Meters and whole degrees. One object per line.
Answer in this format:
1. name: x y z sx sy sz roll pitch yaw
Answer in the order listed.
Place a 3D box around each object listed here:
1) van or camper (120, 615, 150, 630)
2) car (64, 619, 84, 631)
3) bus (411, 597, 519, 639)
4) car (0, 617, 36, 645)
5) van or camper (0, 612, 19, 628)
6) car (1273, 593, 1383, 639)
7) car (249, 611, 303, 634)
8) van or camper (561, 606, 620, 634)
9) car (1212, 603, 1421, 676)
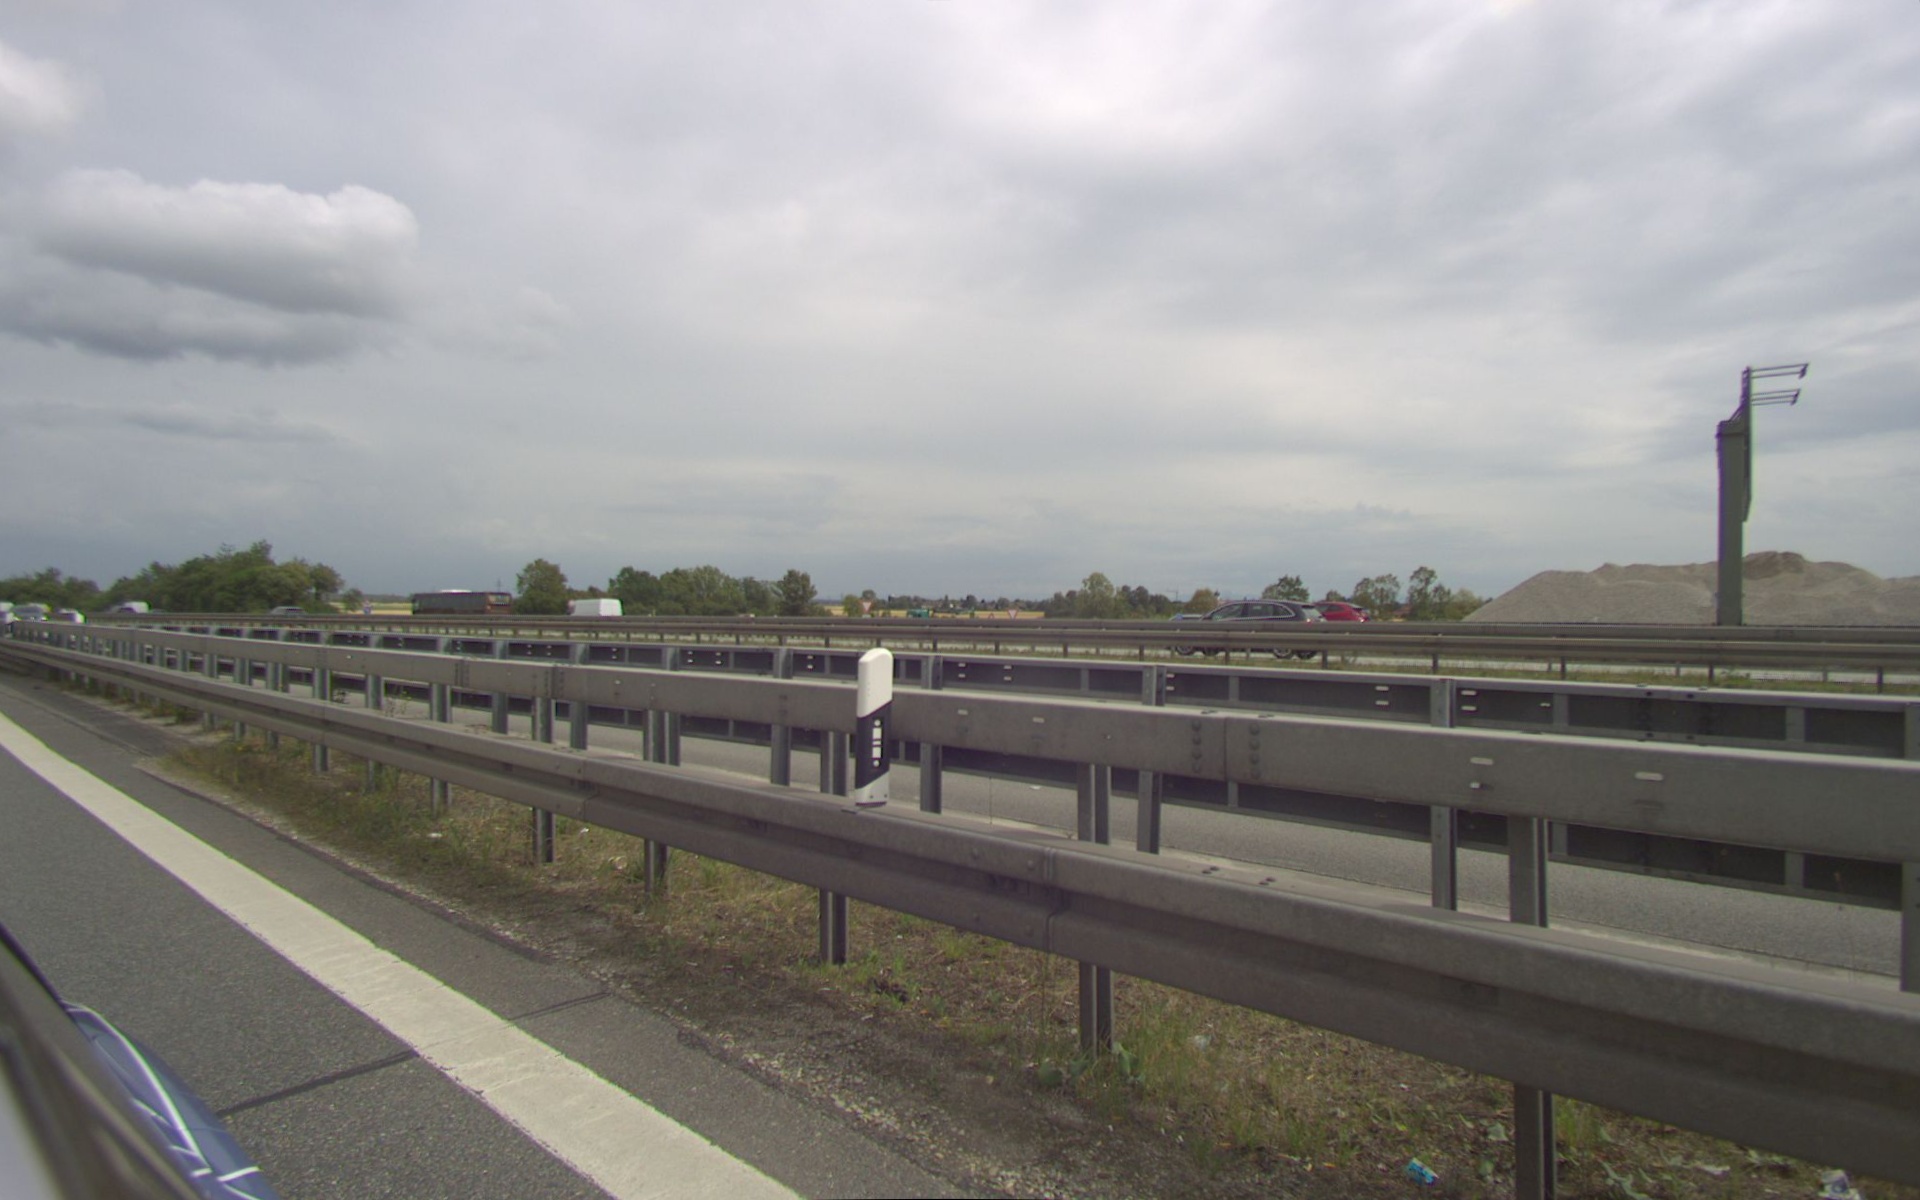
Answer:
1. van or camper: -120.328 3.240 147.563 5.802 2.188 2.166 -1 -1 38
2. car: -119.369 3.376 136.324 3.998 1.475 1.507 -1 0 41
3. bus: -43.979 1.550 89.591 12.974 3.468 3.183 -1 0 38
4. car: -68.094 2.211 72.894 3.998 1.896 1.776 -1 1 41
5. van or camper: -163.863 3.374 173.851 6.896 2.639 2.165 -1 -1 39
6. car: 15.660 0.663 43.137 3.995 1.862 1.974 -1 1 39
7. car: -47.779 1.547 70.708 4.135 1.480 1.974 -1 0 38
8. van or camper: -27.903 1.513 76.335 4.878 2.029 1.974 -1 0 39
9. car: 9.032 0.953 25.826 4.628 1.674 1.974 -1 0 38
